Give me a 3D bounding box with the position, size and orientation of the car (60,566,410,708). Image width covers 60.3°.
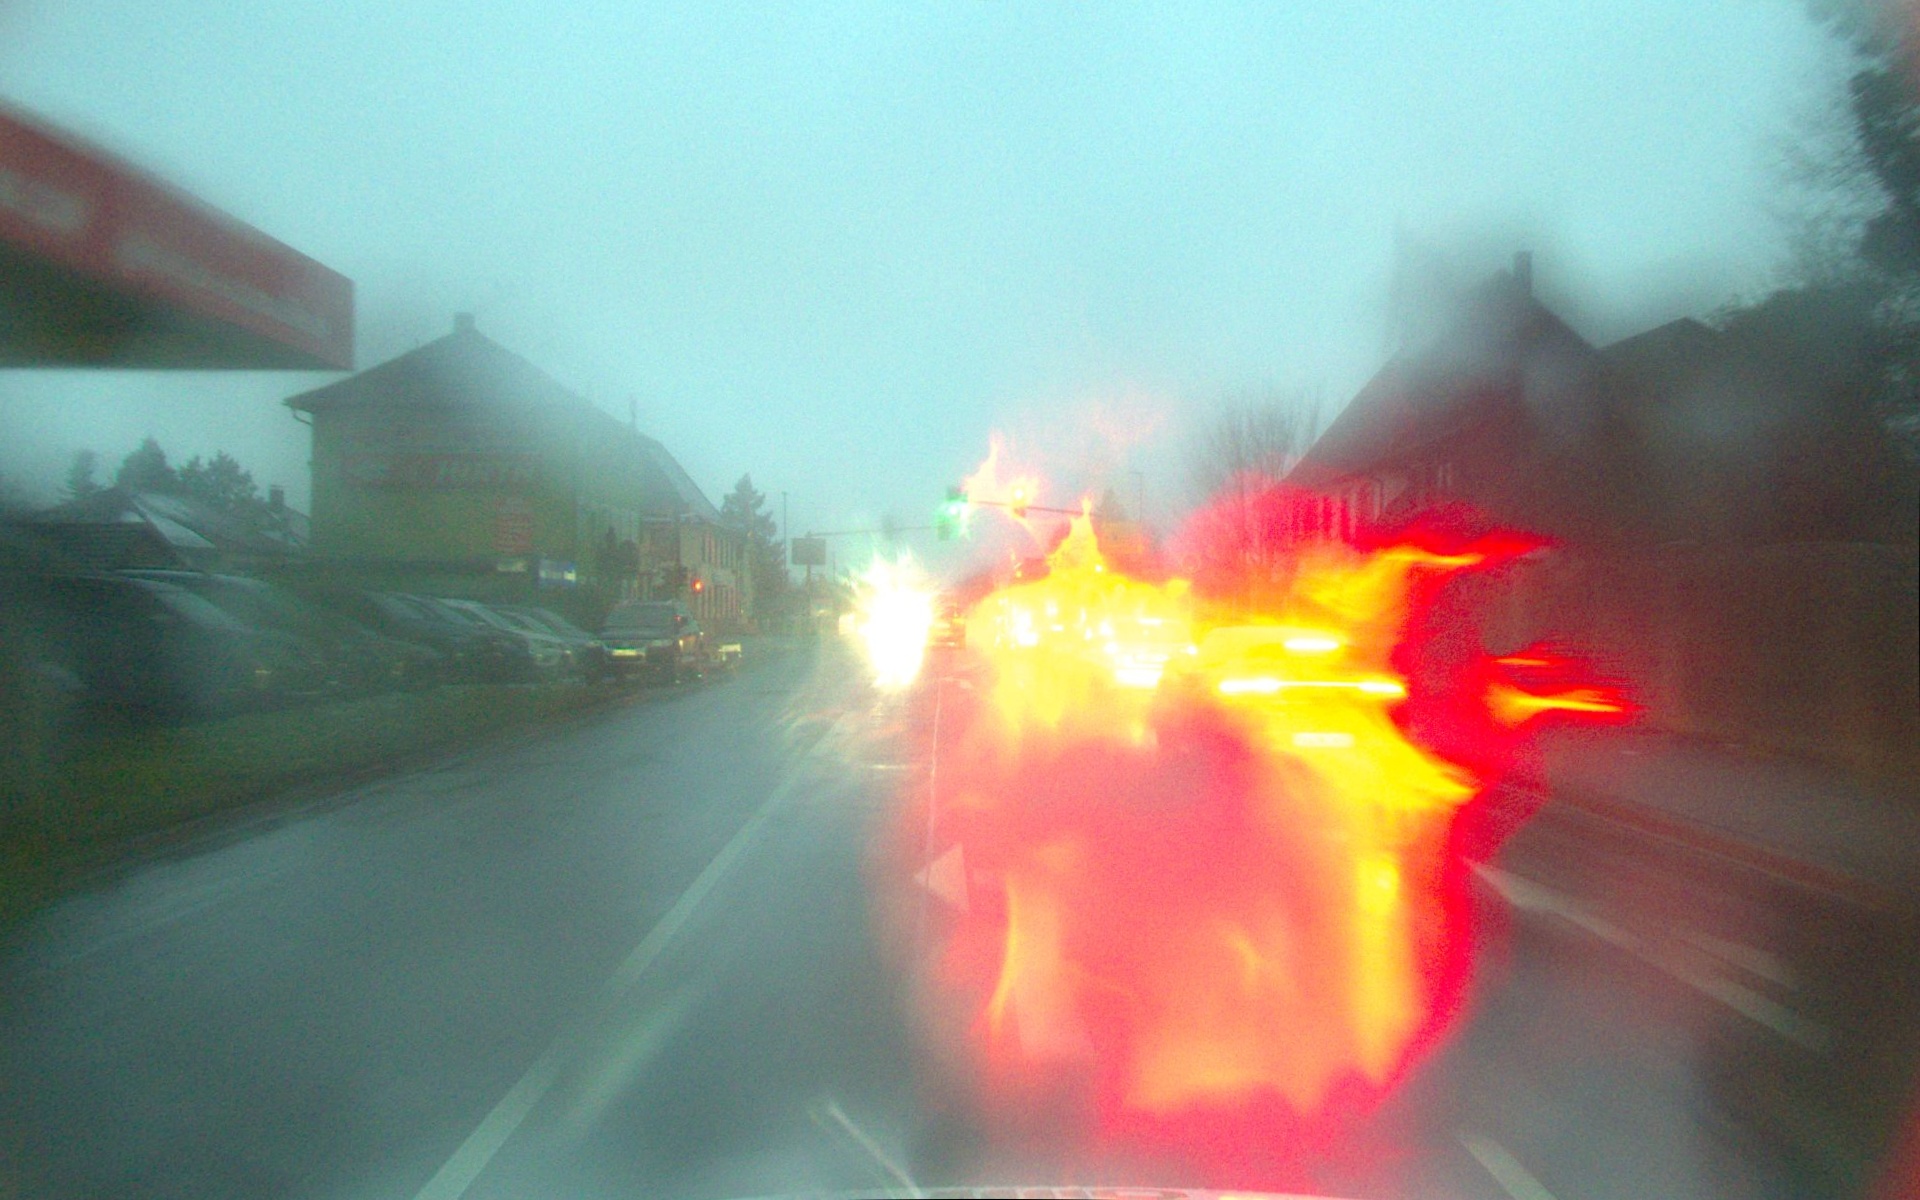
[{"bbox_3d":[-10.598,0.530,24.428,4.190,1.794,2.000,3,0,-1],"label":"car"}]

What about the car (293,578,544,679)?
[{"bbox_3d":[-10.540,0.548,32.433,4.190,1.691,2.000,3,0,-1],"label":"car"}]

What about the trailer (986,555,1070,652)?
[{"bbox_3d":[2.427,0.159,62.570,2.437,3.297,10.865,1,0,-1],"label":"trailer"}]

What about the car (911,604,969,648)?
[{"bbox_3d":[-0.798,0.993,64.091,2.006,1.600,4.699,-1,0,-4],"label":"car"}]

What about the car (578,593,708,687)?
[{"bbox_3d":[-6.679,0.794,35.303,1.930,1.862,4.512,-1,0,-1],"label":"car"}]

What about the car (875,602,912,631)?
[{"bbox_3d":[-4.164,1.011,104.197,1.952,1.777,4.001,-1,0,2],"label":"car"}]

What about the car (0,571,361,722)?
[{"bbox_3d":[-10.376,0.579,21.722,4.190,1.691,2.000,3,0,-1],"label":"car"}]

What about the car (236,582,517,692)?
[{"bbox_3d":[-10.349,0.640,29.611,4.190,1.691,2.136,3,0,-1],"label":"car"}]

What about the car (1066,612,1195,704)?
[{"bbox_3d":[2.712,0.889,27.100,1.619,1.359,4.271,1,0,-1],"label":"car"}]

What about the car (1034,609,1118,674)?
[{"bbox_3d":[3.002,1.053,43.681,1.799,1.596,4.502,1,0,-1],"label":"car"}]

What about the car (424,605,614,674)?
[{"bbox_3d":[-9.998,0.892,37.701,3.814,1.453,1.719,1,-1,0],"label":"car"}]

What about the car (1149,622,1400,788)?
[{"bbox_3d":[3.019,0.948,16.826,1.607,1.390,4.768,1,0,0],"label":"car"}]

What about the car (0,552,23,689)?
[{"bbox_3d":[-14.218,0.277,21.492,1.848,1.902,3.999,0,0,-1],"label":"car"}]

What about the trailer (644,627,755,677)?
[{"bbox_3d":[-6.657,1.305,42.953,1.953,1.057,6.103,-1,0,-1],"label":"trailer"}]

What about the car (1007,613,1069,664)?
[{"bbox_3d":[2.376,1.151,51.224,1.628,1.464,4.380,1,0,-1],"label":"car"}]

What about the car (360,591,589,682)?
[{"bbox_3d":[-10.244,0.763,35.130,4.190,1.655,2.000,3,0,-1],"label":"car"}]

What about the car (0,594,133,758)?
[{"bbox_3d":[-10.204,0.665,15.669,3.780,1.467,1.839,1,0,-2],"label":"car"}]

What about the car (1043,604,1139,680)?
[{"bbox_3d":[2.761,0.864,35.644,1.667,1.497,4.271,1,0,-1],"label":"car"}]

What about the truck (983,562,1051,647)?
[{"bbox_3d":[2.308,0.202,68.413,2.412,3.286,6.271,1,0,-1],"label":"truck"}]

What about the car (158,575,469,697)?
[{"bbox_3d":[-10.428,0.570,26.931,4.190,1.691,2.000,3,0,-1],"label":"car"}]
